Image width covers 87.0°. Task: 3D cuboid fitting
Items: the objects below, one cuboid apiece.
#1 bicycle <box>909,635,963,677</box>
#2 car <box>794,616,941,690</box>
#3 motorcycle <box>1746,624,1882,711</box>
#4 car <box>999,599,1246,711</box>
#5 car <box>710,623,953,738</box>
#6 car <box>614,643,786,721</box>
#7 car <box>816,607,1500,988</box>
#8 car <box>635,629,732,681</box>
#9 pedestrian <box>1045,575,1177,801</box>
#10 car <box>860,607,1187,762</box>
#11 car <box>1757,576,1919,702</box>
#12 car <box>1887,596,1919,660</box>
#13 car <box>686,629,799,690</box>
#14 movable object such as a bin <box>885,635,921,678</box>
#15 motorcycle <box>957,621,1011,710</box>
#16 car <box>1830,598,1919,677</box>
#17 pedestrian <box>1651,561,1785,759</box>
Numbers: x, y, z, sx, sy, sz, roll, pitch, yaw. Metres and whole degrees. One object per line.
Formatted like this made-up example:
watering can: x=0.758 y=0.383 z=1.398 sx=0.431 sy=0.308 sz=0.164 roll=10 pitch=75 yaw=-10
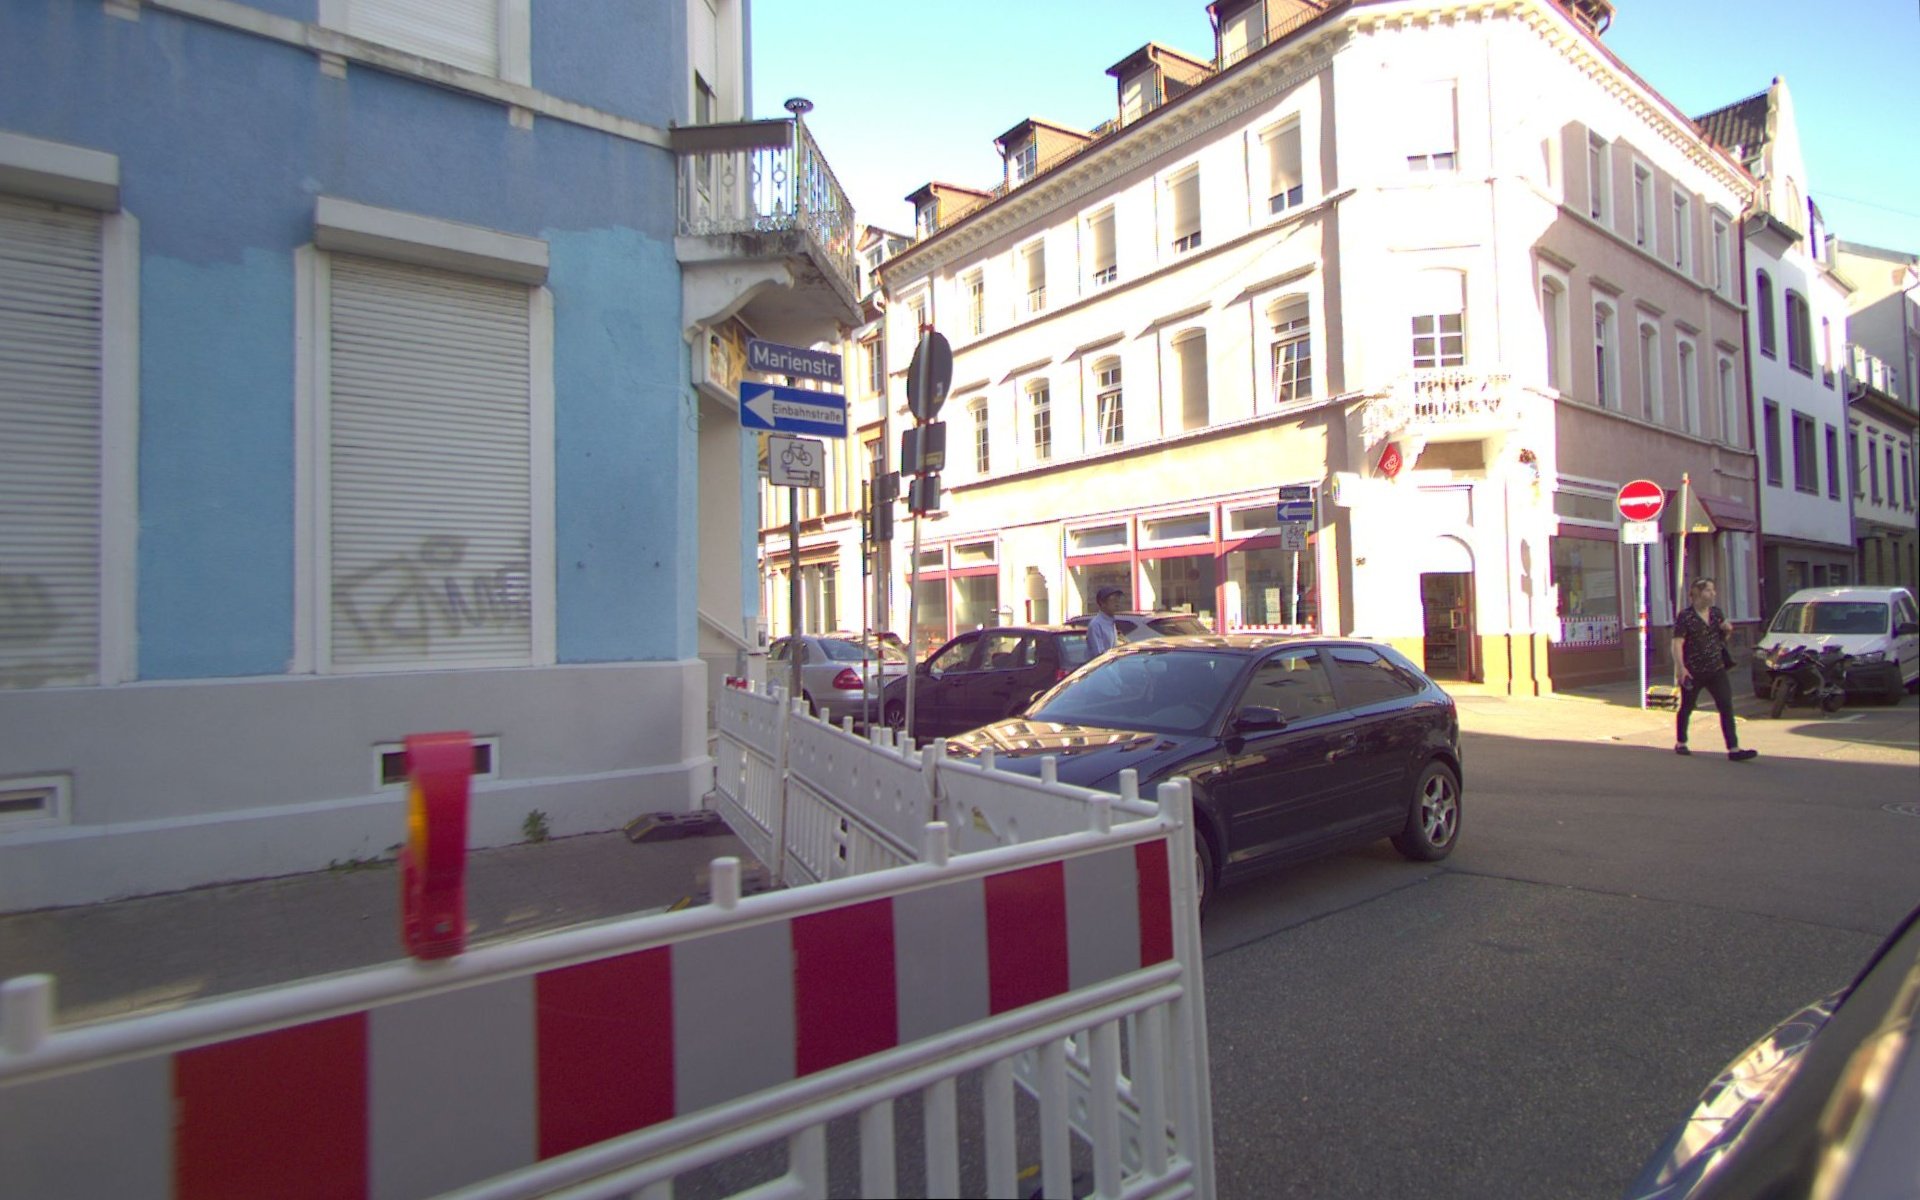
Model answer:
bicycle: x=-0.646 y=1.478 z=26.463 sx=0.447 sy=1.022 sz=1.642 roll=-1 pitch=-4 yaw=-39
car: x=-2.362 y=1.306 z=24.905 sx=1.720 sy=1.532 sz=3.912 roll=-5 pitch=-1 yaw=-37
motorcycle: x=12.242 y=0.937 z=14.495 sx=1.956 sy=1.100 sz=0.722 roll=-2 pitch=-2 yaw=-27
car: x=2.719 y=0.958 z=17.770 sx=1.822 sy=1.653 sz=4.068 roll=-3 pitch=-1 yaw=-37
car: x=-2.092 y=1.159 z=15.205 sx=1.723 sy=1.453 sz=4.482 roll=2 pitch=-4 yaw=-35
car: x=-5.086 y=1.529 z=19.399 sx=1.724 sy=1.244 sz=4.161 roll=-1 pitch=-3 yaw=-37
car: x=1.338 y=0.848 z=5.990 sx=3.961 sy=1.453 sz=1.775 roll=-1 pitch=-3 yaw=-38
car: x=-9.299 y=1.843 z=33.822 sx=1.720 sy=1.471 sz=3.912 roll=-5 pitch=0 yaw=-37
pedestrian: x=1.334 y=0.751 z=8.969 sx=0.768 sy=1.873 sz=0.769 roll=-6 pitch=-4 yaw=41
car: x=0.562 y=0.918 z=11.791 sx=1.646 sy=1.472 sz=3.876 roll=0 pitch=-3 yaw=-37
car: x=14.996 y=0.554 z=16.819 sx=4.290 sy=1.840 sz=1.752 roll=-1 pitch=-1 yaw=-38
car: x=23.345 y=0.620 z=23.748 sx=3.811 sy=1.413 sz=1.735 roll=-1 pitch=-1 yaw=-38
car: x=-6.499 y=1.764 z=29.936 sx=1.720 sy=1.532 sz=3.912 roll=-5 pitch=-1 yaw=-37
movable object such as a bin: x=-1.568 y=1.545 z=27.665 sx=0.655 sy=1.131 sz=0.717 roll=-1 pitch=-4 yaw=-36
motorcycle: x=0.458 y=1.316 z=20.678 sx=0.835 sy=1.670 sz=2.336 roll=-3 pitch=-3 yaw=-3
car: x=18.967 y=0.699 z=20.260 sx=3.811 sy=1.426 sz=1.612 roll=-1 pitch=-1 yaw=-38
pedestrian: x=7.377 y=0.547 z=9.905 sx=0.819 sy=1.815 sz=0.982 roll=-1 pitch=0 yaw=24
